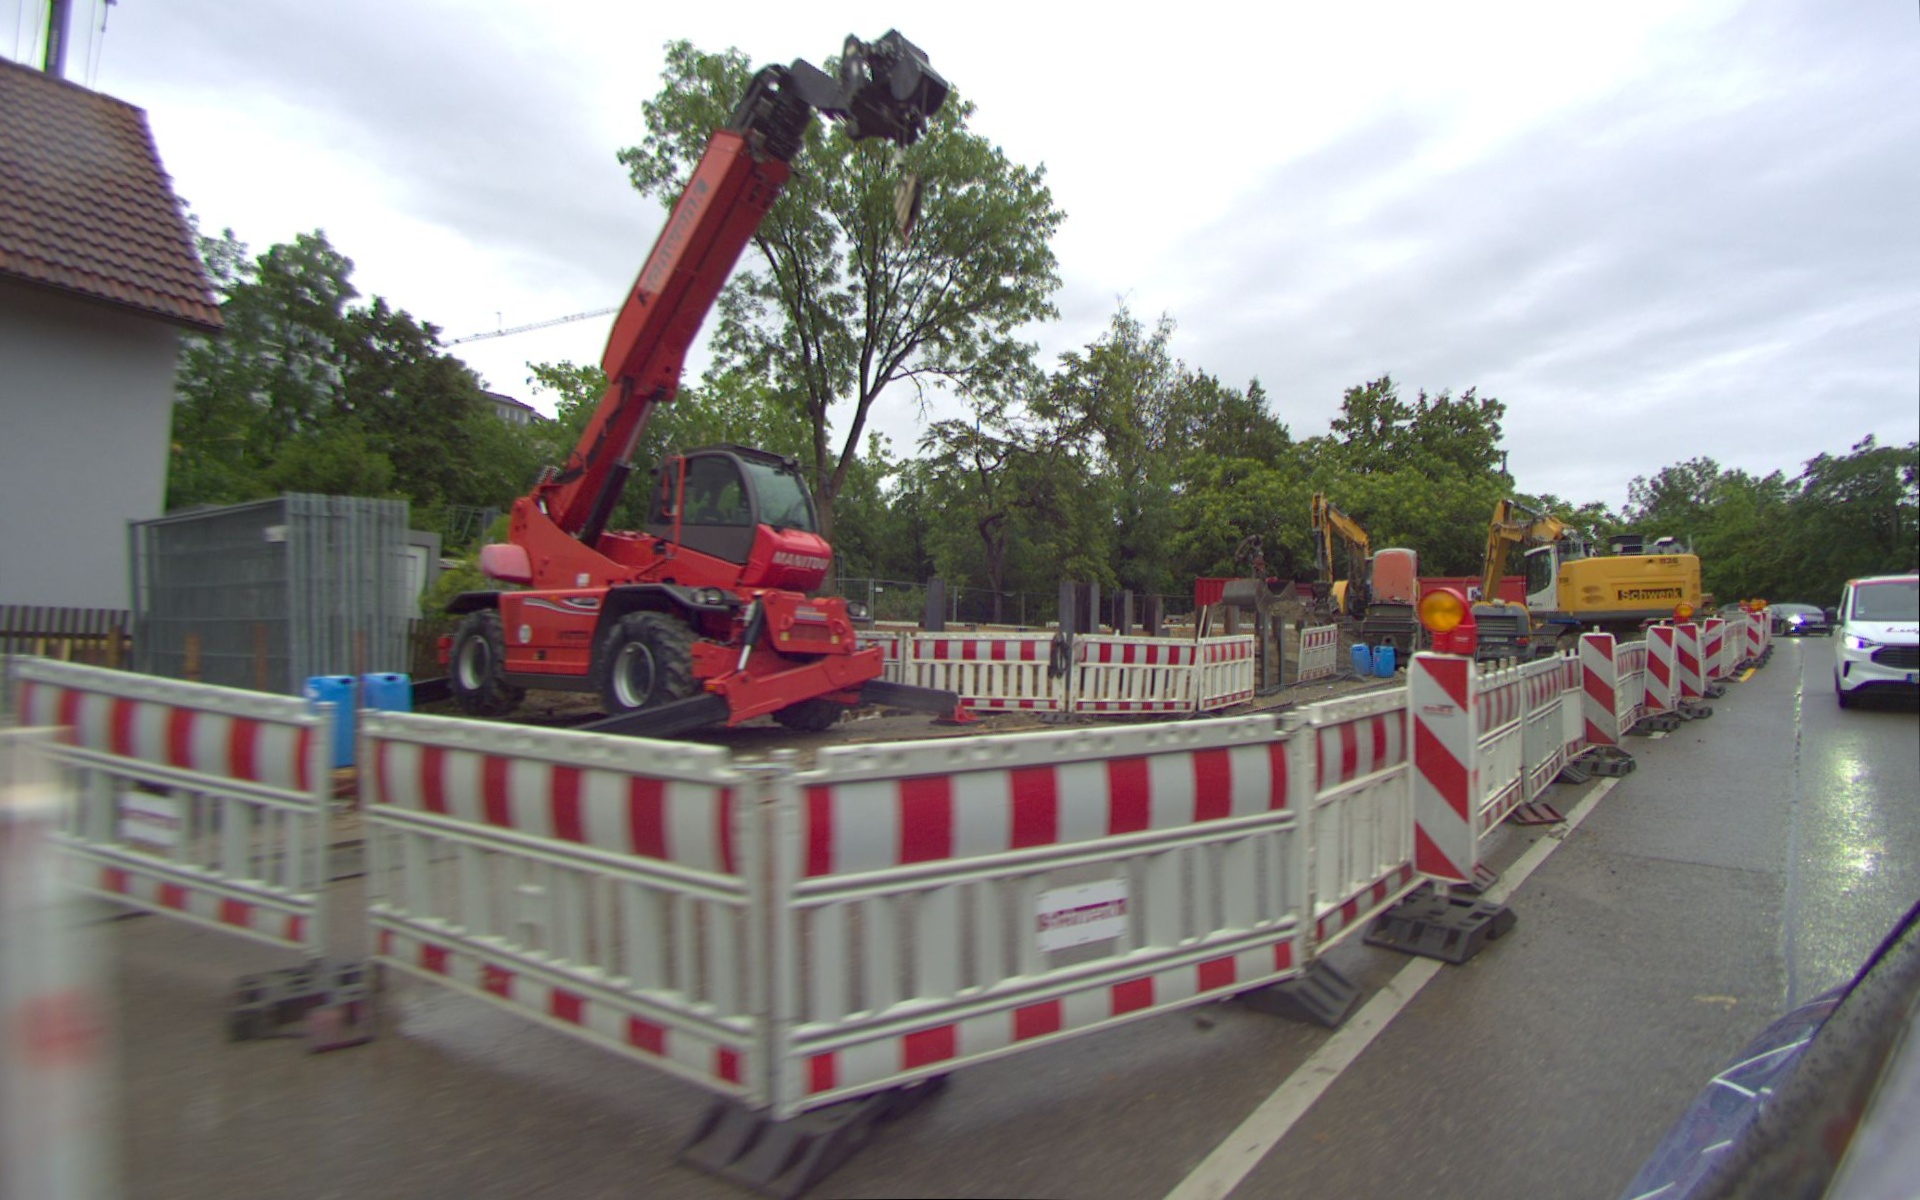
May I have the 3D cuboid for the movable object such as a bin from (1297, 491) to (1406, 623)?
[{"bbox_3d":[12.706,-1.255,32.716,1.989,3.939,4.553,-2,-2,38],"label":"movable object such as a bin"}]

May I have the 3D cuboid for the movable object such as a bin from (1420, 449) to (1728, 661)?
[{"bbox_3d":[17.164,-1.217,29.673,3.012,4.979,10.810,-2,1,4],"label":"movable object such as a bin"}]

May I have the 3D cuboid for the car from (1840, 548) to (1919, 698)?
[{"bbox_3d":[14.931,0.403,15.531,1.992,2.039,4.875,4,1,40],"label":"car"}]

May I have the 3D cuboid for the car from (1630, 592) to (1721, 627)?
[{"bbox_3d":[46.637,0.659,66.143,1.832,2.040,4.820,1,-3,-12],"label":"car"}]

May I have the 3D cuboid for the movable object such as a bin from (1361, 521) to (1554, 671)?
[{"bbox_3d":[12.053,0.029,24.566,3.968,3.248,2.378,-2,-7,32],"label":"movable object such as a bin"}]

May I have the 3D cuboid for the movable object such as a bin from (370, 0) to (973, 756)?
[{"bbox_3d":[-3.537,-2.106,11.398,6.932,6.775,3.004,-1,-1,37],"label":"movable object such as a bin"}]

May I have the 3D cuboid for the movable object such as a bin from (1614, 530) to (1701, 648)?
[{"bbox_3d":[21.259,-0.375,30.783,1.988,3.346,3.786,-1,1,37],"label":"movable object such as a bin"}]
